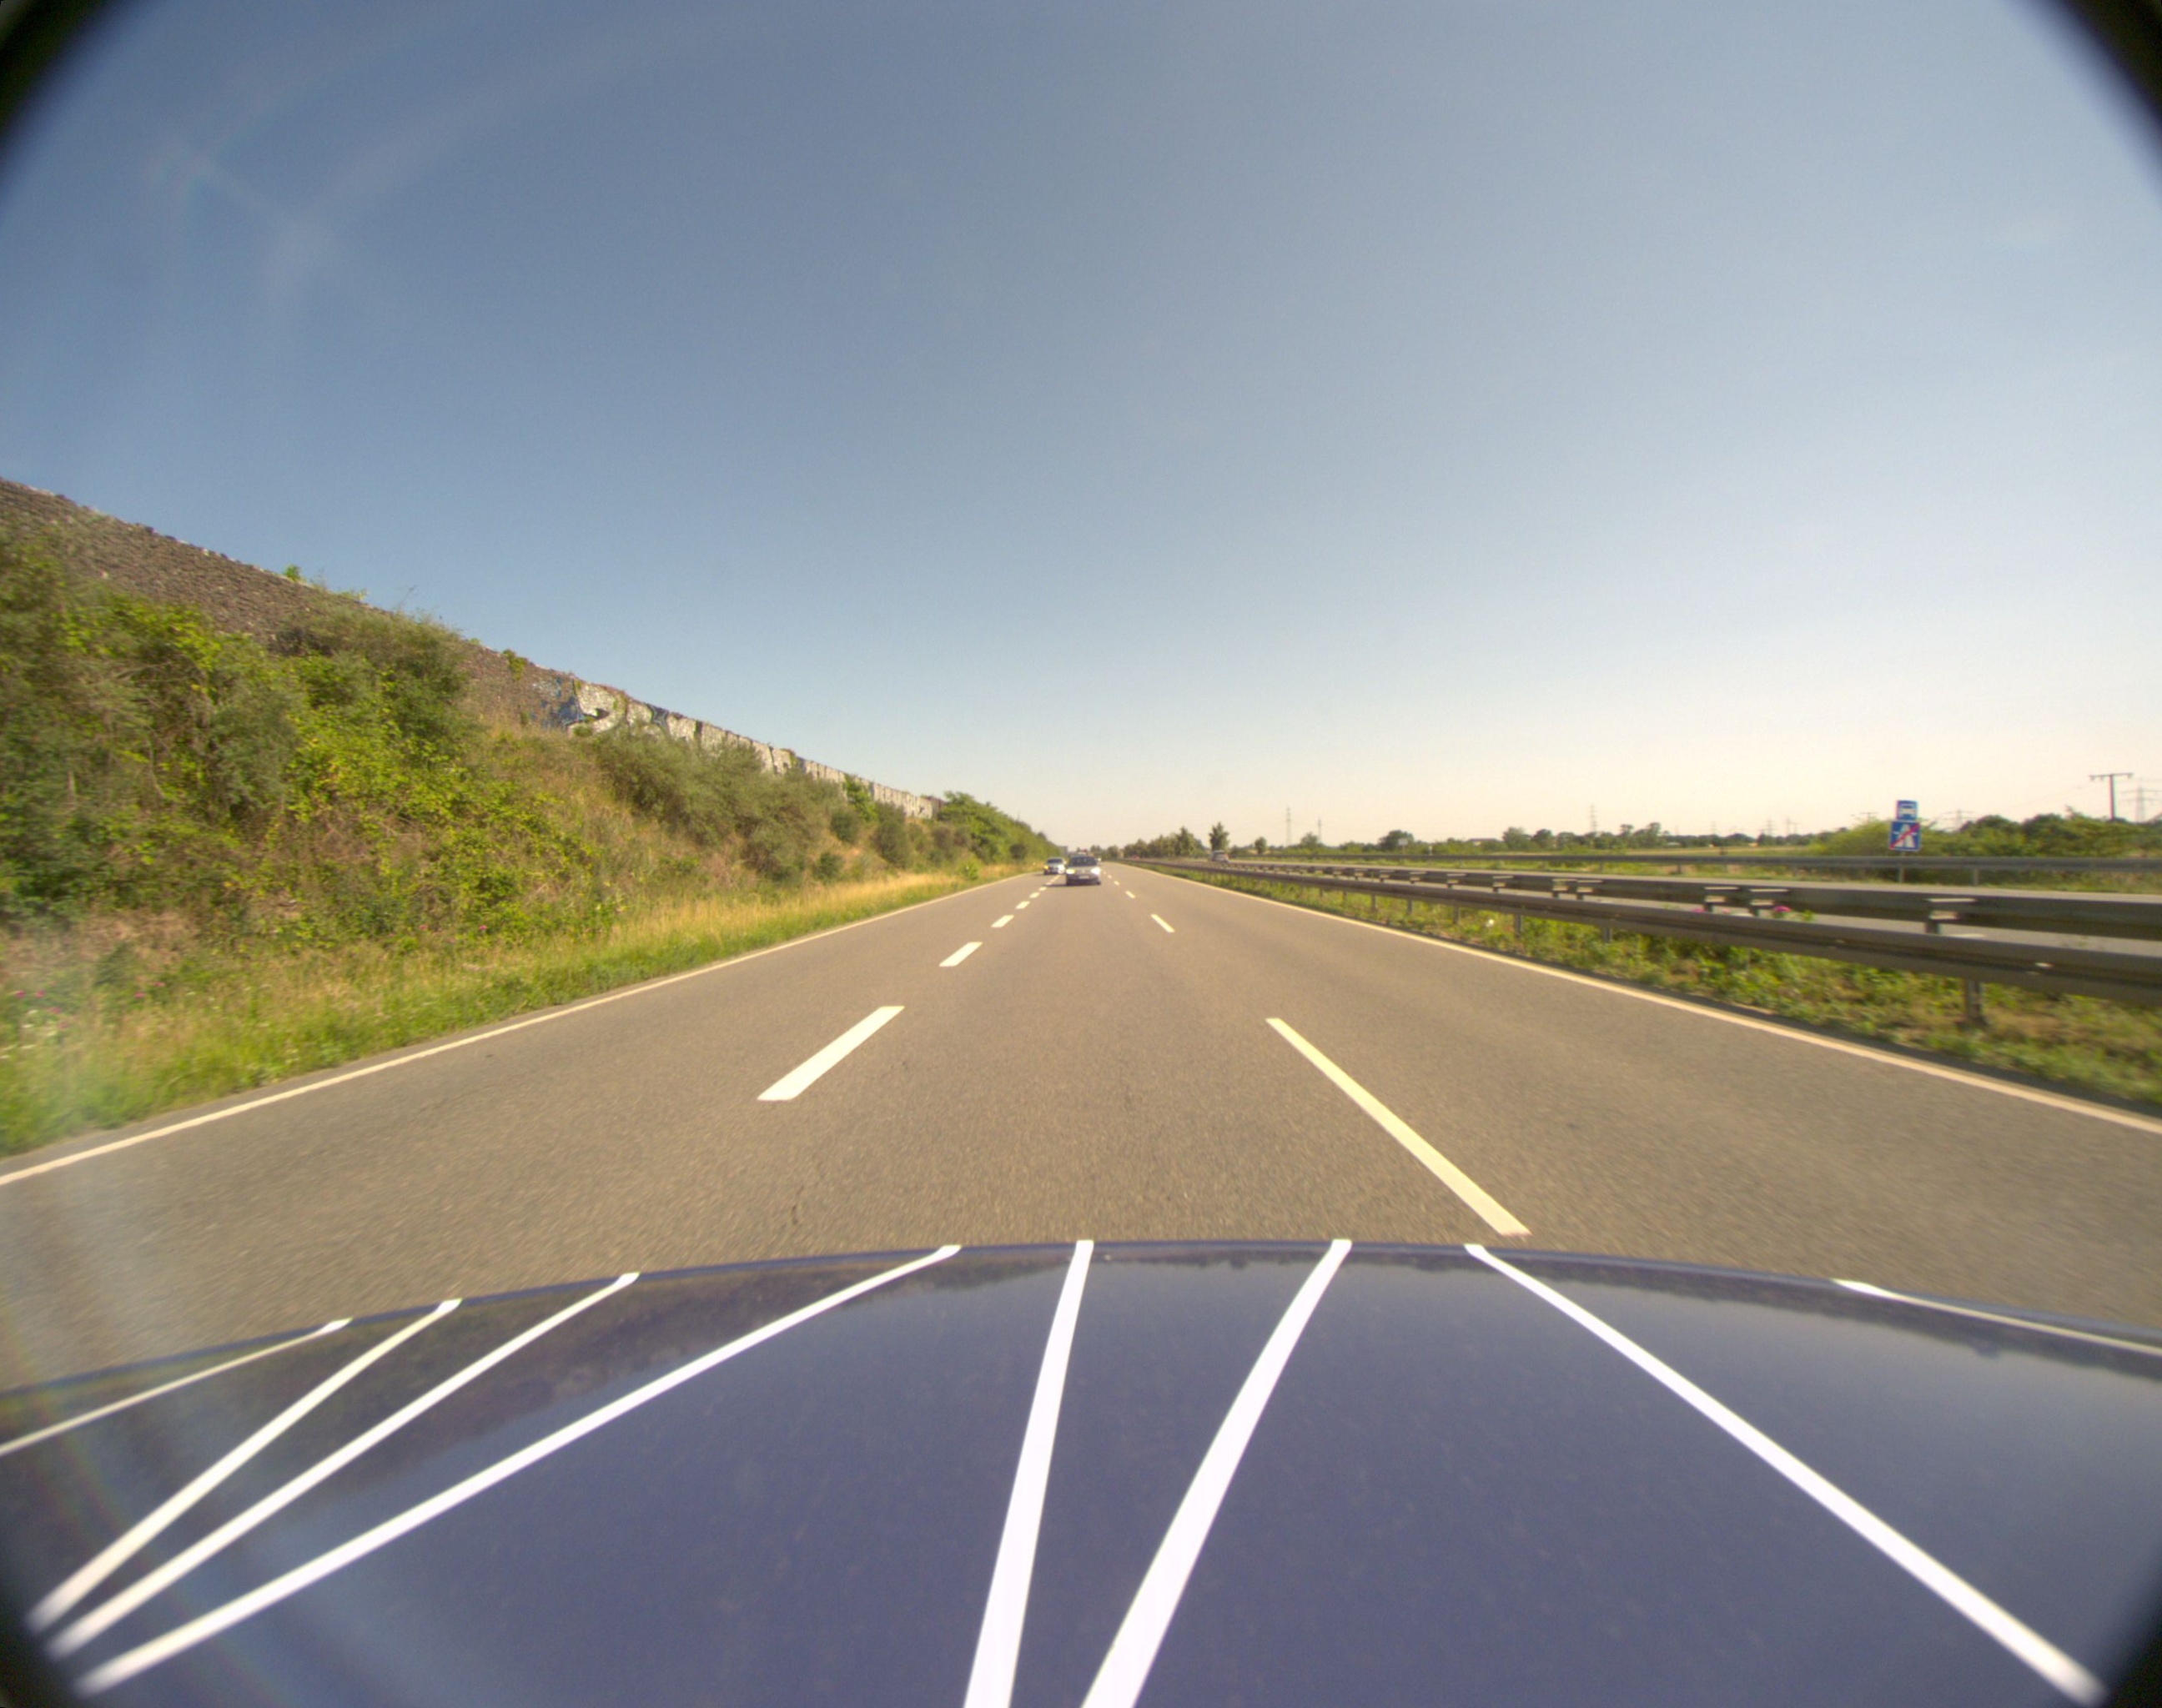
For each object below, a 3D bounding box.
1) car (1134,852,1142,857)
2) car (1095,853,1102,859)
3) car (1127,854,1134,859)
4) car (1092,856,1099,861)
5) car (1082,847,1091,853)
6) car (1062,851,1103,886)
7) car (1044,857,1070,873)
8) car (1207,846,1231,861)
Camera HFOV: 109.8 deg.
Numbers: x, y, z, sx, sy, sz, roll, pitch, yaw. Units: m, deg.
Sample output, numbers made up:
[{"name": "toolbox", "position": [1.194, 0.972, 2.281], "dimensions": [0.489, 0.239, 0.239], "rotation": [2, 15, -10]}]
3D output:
[{"name": "car", "position": [15.950, 0.185, 213.766], "dimensions": [1.872, 1.426, 4.934], "rotation": [-4, 0, 0]}, {"name": "car", "position": [4.563, 0.517, 198.980], "dimensions": [1.790, 1.659, 3.999], "rotation": [-2, 1, -1]}, {"name": "car", "position": [15.633, 0.658, 238.508], "dimensions": [1.717, 1.442, 4.322], "rotation": [-2, 0, -1]}, {"name": "car", "position": [4.675, 1.418, 248.004], "dimensions": [1.854, 1.602, 4.001], "rotation": [-2, 1, 4]}, {"name": "car", "position": [1.044, -0.785, 150.499], "dimensions": [1.790, 1.212, 3.999], "rotation": [-2, 0, -1]}, {"name": "car", "position": [0.147, 0.723, 39.934], "dimensions": [1.854, 1.635, 4.000], "rotation": [-2, 0, 3]}, {"name": "car", "position": [-2.048, 0.901, 65.831], "dimensions": [1.854, 1.212, 4.000], "rotation": [-3, 0, 3]}, {"name": "car", "position": [15.451, -0.049, 85.149], "dimensions": [1.704, 1.476, 4.619], "rotation": [-5, 0, 0]}]
